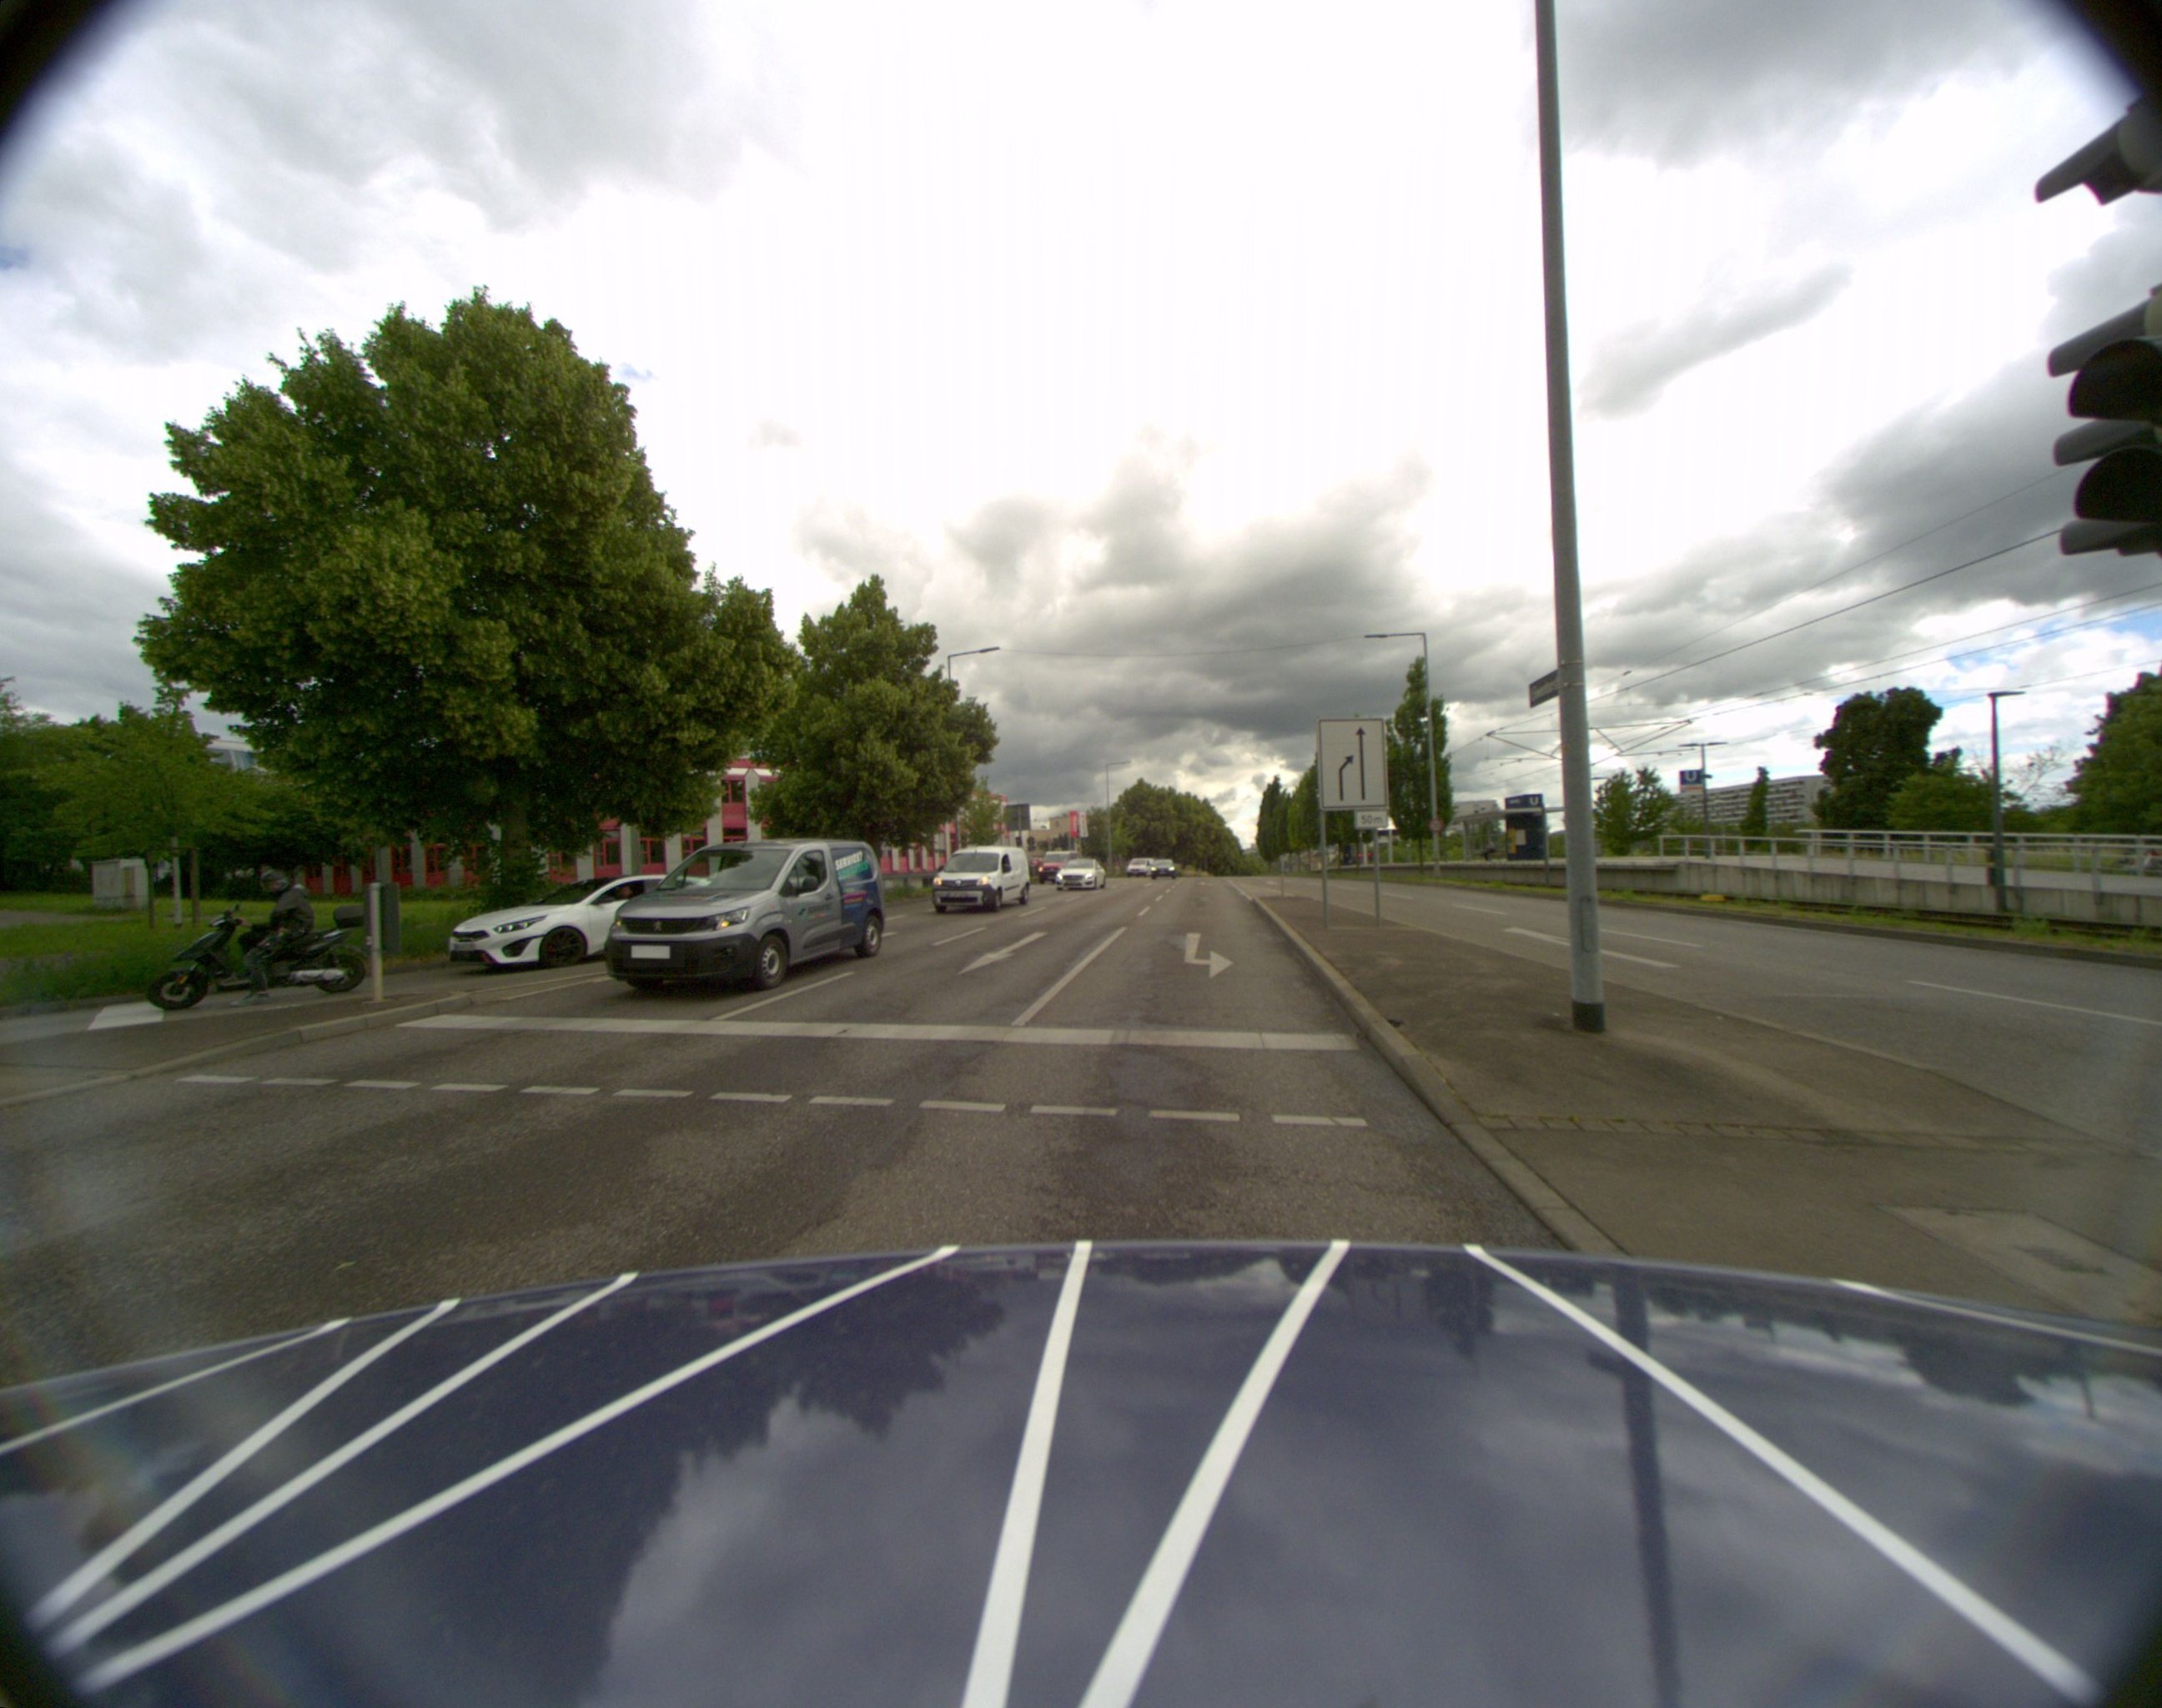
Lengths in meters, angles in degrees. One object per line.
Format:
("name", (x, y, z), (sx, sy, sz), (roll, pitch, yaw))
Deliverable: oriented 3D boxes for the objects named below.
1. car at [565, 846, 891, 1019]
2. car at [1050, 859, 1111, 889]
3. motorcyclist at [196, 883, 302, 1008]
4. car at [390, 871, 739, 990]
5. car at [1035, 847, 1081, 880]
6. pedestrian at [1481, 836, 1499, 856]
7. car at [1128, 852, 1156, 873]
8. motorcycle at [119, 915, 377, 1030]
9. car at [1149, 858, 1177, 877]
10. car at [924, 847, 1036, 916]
("car", (-4.239, 0.795, 10.040), (1.812, 1.770, 4.225), (-1, 1, 9))
("car", (0.047, 0.970, 35.568), (1.811, 1.332, 4.229), (-1, -3, 15))
("motorcyclist", (-10.246, 1.088, 9.392), (0.757, 1.413, 0.819), (-2, 0, 44))
("car", (-8.350, 1.146, 12.862), (1.831, 1.412, 4.520), (-3, 1, 25))
("car", (-1.372, 0.662, 47.157), (2.182, 1.894, 4.458), (-1, -2, 7))
("pedestrian", (24.757, -0.489, 46.012), (0.750, 1.169, 0.838), (-1, 2, 8))
("car", (6.093, 0.824, 75.229), (1.948, 1.895, 5.242), (-1, 1, 13))
("motorcycle", (-10.199, 1.398, 9.435), (0.757, 1.084, 2.073), (-2, 0, 44))
("car", (6.323, 1.049, 57.988), (1.812, 1.332, 4.227), (-1, -3, 10))
("car", (-2.755, 0.736, 21.984), (1.812, 1.781, 4.701), (-1, 0, 11))
